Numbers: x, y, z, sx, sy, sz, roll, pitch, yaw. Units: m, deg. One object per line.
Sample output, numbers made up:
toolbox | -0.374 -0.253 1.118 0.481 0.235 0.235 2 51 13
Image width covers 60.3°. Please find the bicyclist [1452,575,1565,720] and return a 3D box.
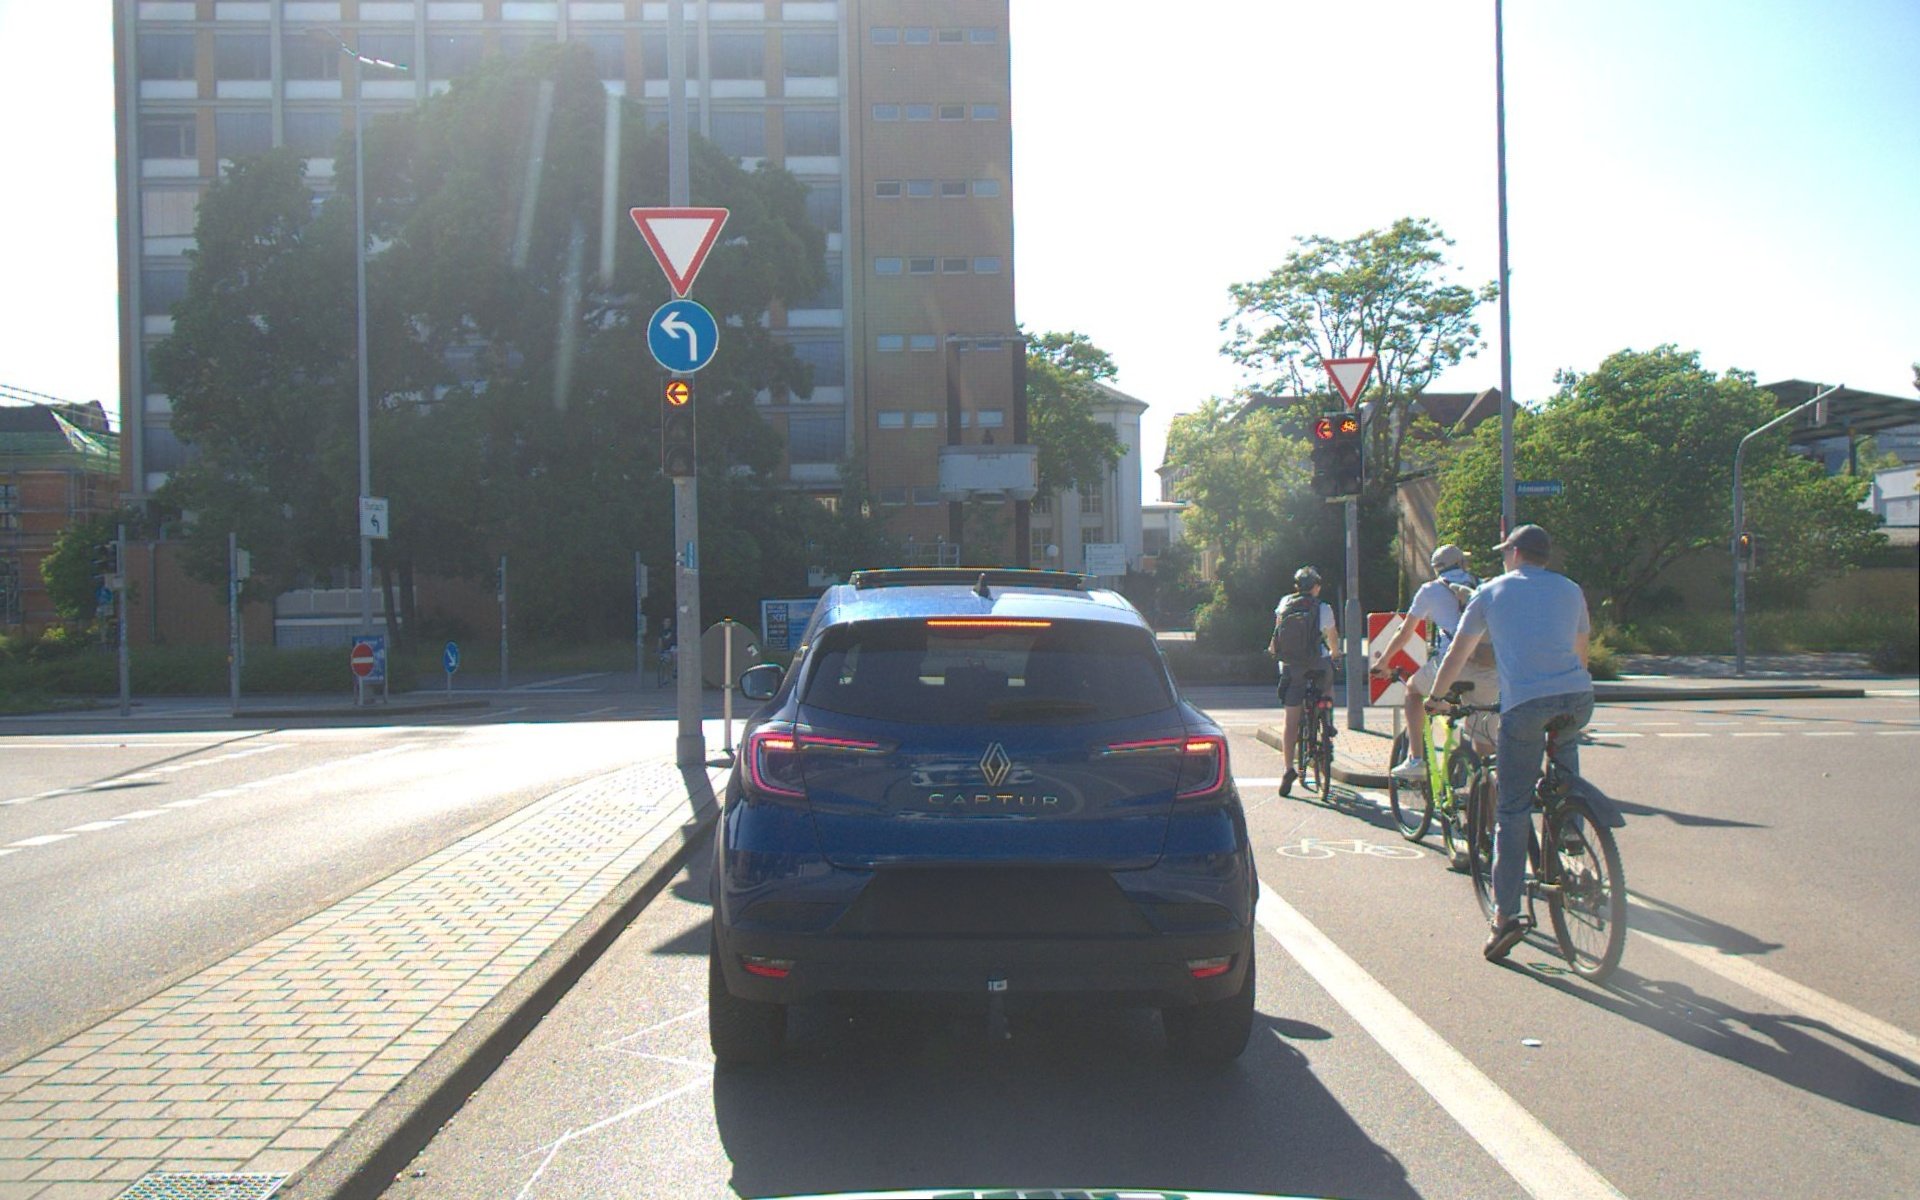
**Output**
bicyclist | 6.050 0.520 18.281 1.029 1.540 0.642 -2 0 6

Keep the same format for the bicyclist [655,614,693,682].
bicyclist | -7.544 1.254 43.664 0.739 1.746 0.999 -1 0 5

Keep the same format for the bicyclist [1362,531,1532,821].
bicyclist | 2.861 0.426 9.819 0.664 1.622 1.142 0 0 -1

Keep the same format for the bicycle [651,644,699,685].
bicycle | -7.526 1.696 43.767 0.739 1.002 2.095 -1 0 5

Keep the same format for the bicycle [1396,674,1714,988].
bicycle | 2.508 0.917 7.230 0.675 1.108 1.922 0 0 -1

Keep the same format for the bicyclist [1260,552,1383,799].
bicyclist | 2.775 0.559 12.788 0.685 1.822 1.142 0 0 -1

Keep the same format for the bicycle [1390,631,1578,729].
bicycle | 5.780 0.882 18.309 1.858 0.990 0.650 -2 0 6

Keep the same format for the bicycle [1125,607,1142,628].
bicycle | 9.835 0.980 93.601 0.679 1.160 2.443 -1 0 13

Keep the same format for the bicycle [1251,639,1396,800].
bicycle | 2.781 0.881 12.833 0.675 1.108 1.922 0 0 -1

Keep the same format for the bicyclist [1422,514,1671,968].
bicyclist | 2.516 0.566 7.212 0.669 1.822 1.142 0 0 -1

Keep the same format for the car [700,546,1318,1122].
car | 0.059 0.661 6.642 1.753 1.613 3.912 0 0 -3

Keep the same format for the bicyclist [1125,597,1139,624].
bicyclist | 9.656 0.571 92.768 0.679 1.507 0.718 -1 0 13

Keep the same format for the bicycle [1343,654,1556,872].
bicycle | 2.858 0.908 9.858 0.675 1.108 1.922 0 0 -1
